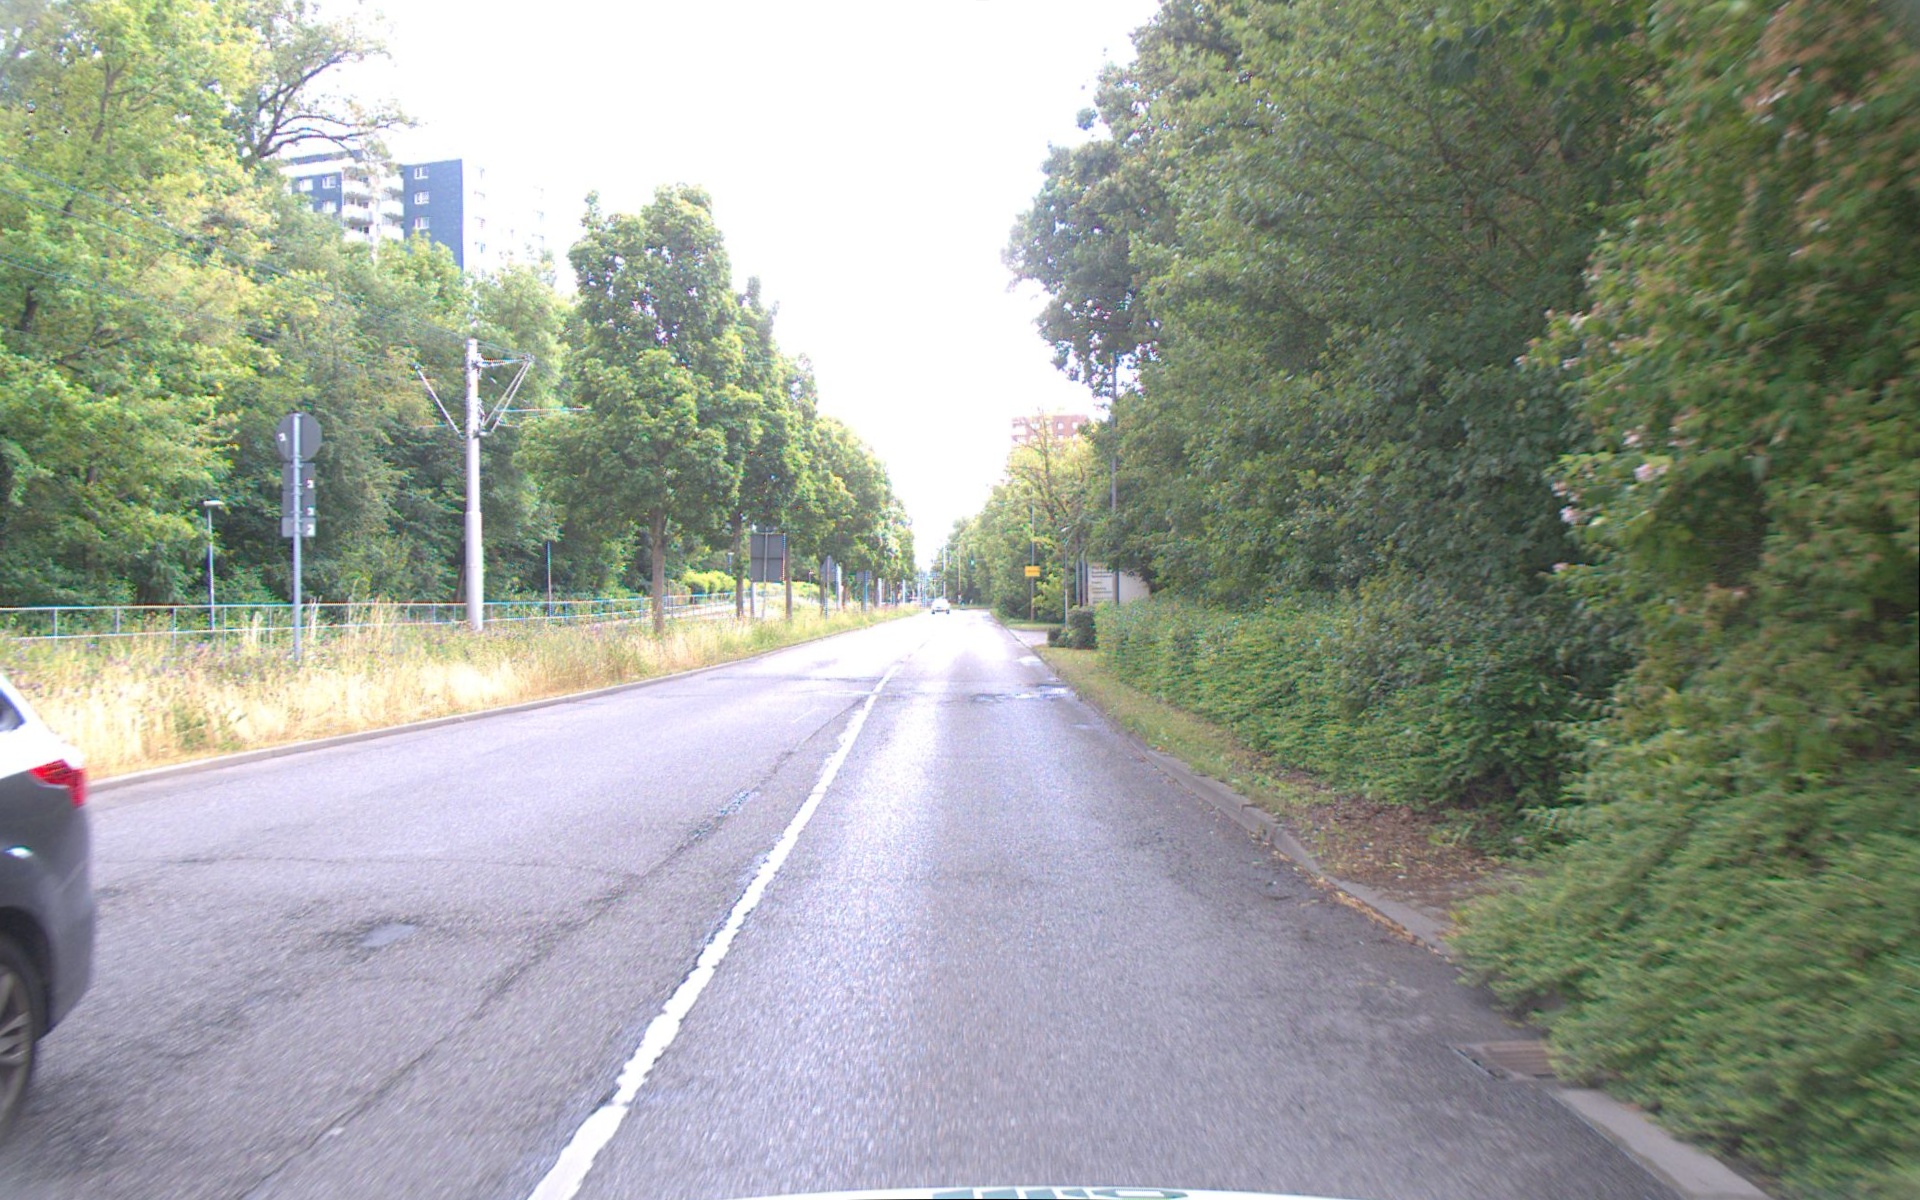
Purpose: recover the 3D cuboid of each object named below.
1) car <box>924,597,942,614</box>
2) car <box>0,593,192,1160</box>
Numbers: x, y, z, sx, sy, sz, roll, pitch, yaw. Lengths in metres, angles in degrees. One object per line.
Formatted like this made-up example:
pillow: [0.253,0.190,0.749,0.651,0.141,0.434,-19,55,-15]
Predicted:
car: [-2.672,0.590,167.341,1.681,1.658,4.000,1,0,1]
car: [-3.313,0.714,3.125,1.720,1.459,4.428,0,0,-1]
